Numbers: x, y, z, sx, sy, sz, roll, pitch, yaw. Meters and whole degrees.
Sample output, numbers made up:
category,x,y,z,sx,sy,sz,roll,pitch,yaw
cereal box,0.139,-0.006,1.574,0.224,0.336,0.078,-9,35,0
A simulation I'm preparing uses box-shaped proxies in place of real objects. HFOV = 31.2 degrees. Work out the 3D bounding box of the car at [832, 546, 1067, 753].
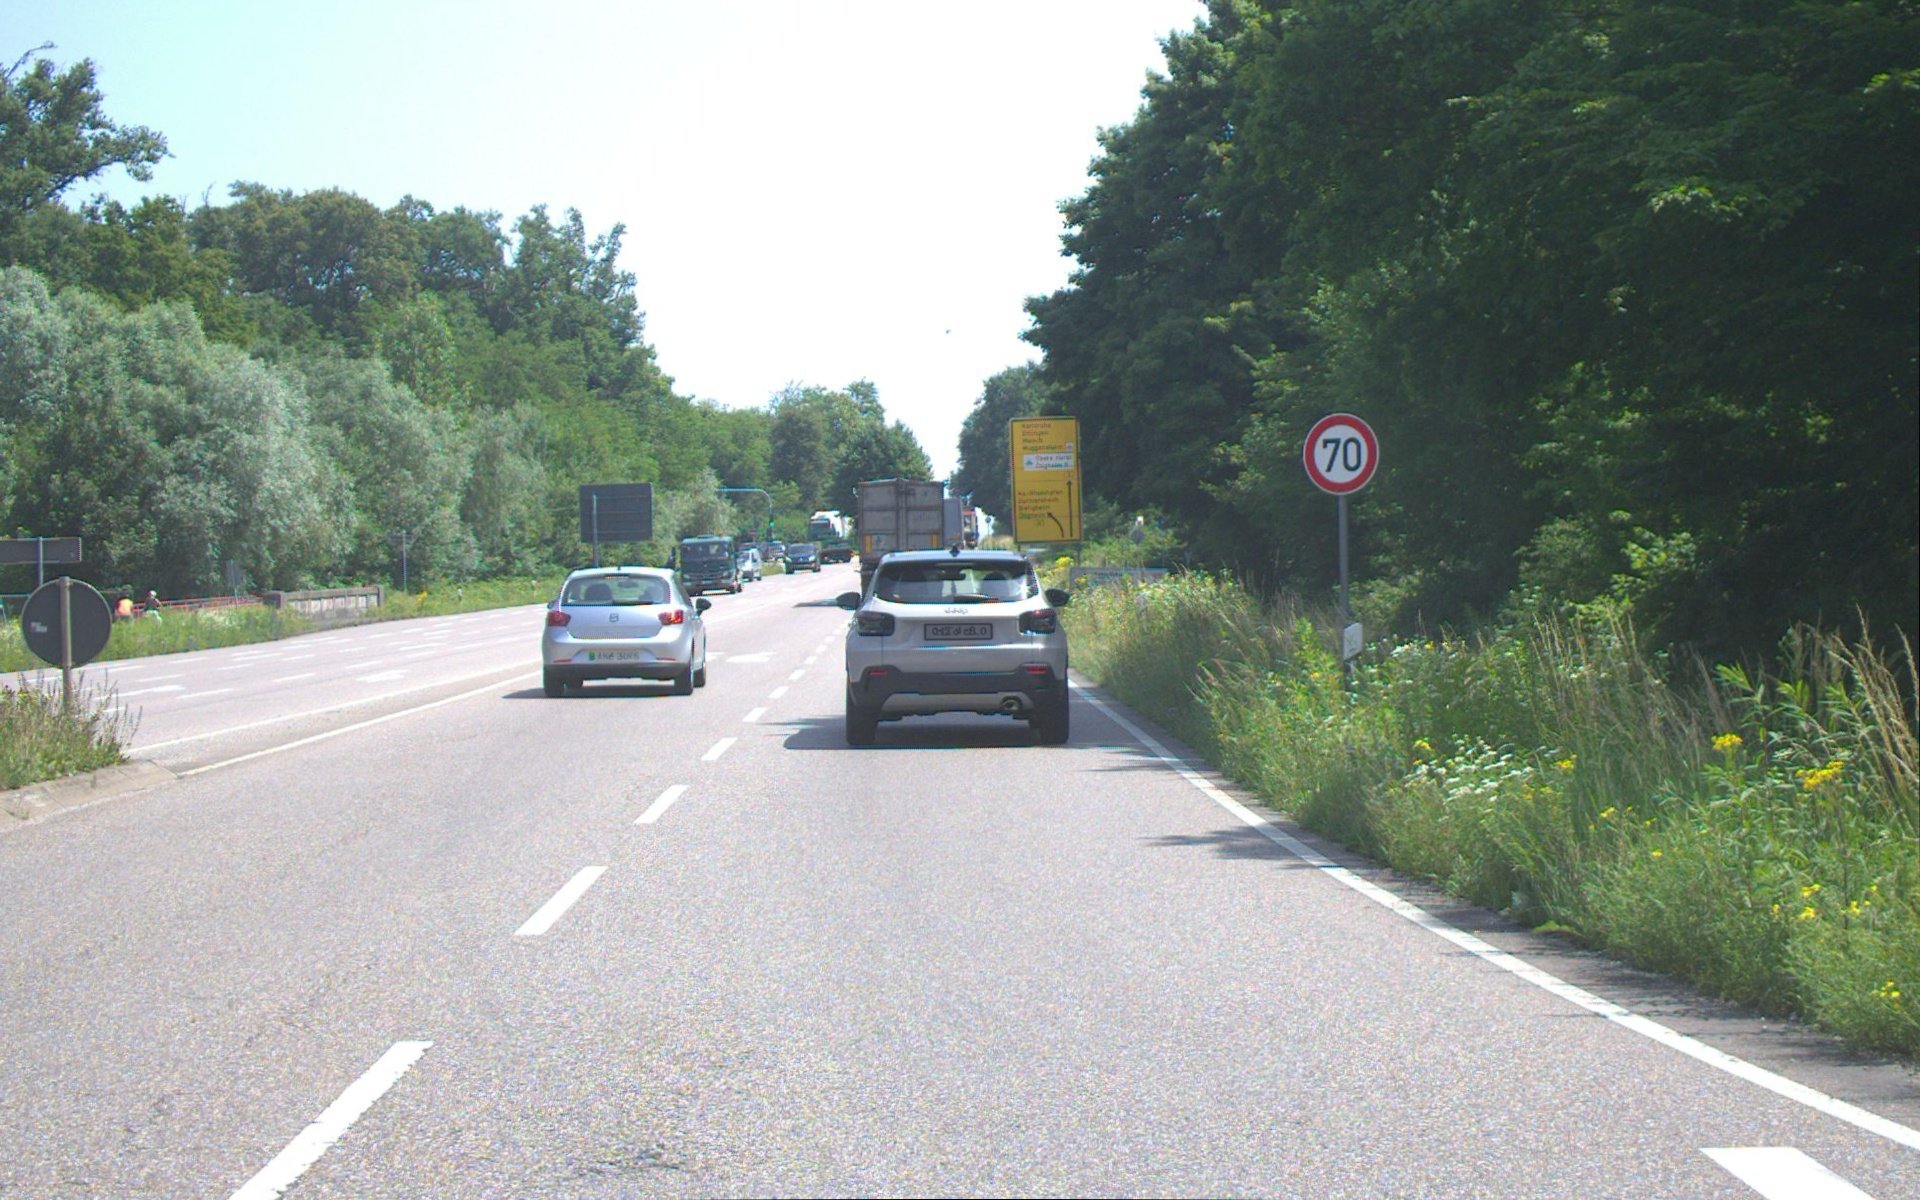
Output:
category,x,y,z,sx,sy,sz,roll,pitch,yaw
car,-0.054,0.347,28.315,1.767,1.529,4.000,-1,1,1

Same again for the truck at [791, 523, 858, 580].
category,x,y,z,sx,sy,sz,roll,pitch,yaw
truck,-10.293,-3.627,259.675,3.645,4.091,9.511,-3,1,-10

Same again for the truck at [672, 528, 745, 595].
category,x,y,z,sx,sy,sz,roll,pitch,yaw
truck,-10.945,-1.715,150.098,2.454,2.647,6.491,-4,1,1

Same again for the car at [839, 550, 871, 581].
category,x,y,z,sx,sy,sz,roll,pitch,yaw
car,-6.982,-2.304,228.730,1.993,2.007,4.554,-2,1,-2

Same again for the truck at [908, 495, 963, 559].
category,x,y,z,sx,sy,sz,roll,pitch,yaw
truck,-1.651,-4.821,229.192,3.497,4.173,10.784,-1,1,0

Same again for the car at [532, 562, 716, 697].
category,x,y,z,sx,sy,sz,roll,pitch,yaw
car,-3.781,0.301,39.225,1.666,1.425,3.828,0,1,1

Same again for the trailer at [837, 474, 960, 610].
category,x,y,z,sx,sy,sz,roll,pitch,yaw
trailer,-1.806,-1.772,106.889,3.383,3.975,10.804,-1,1,1
